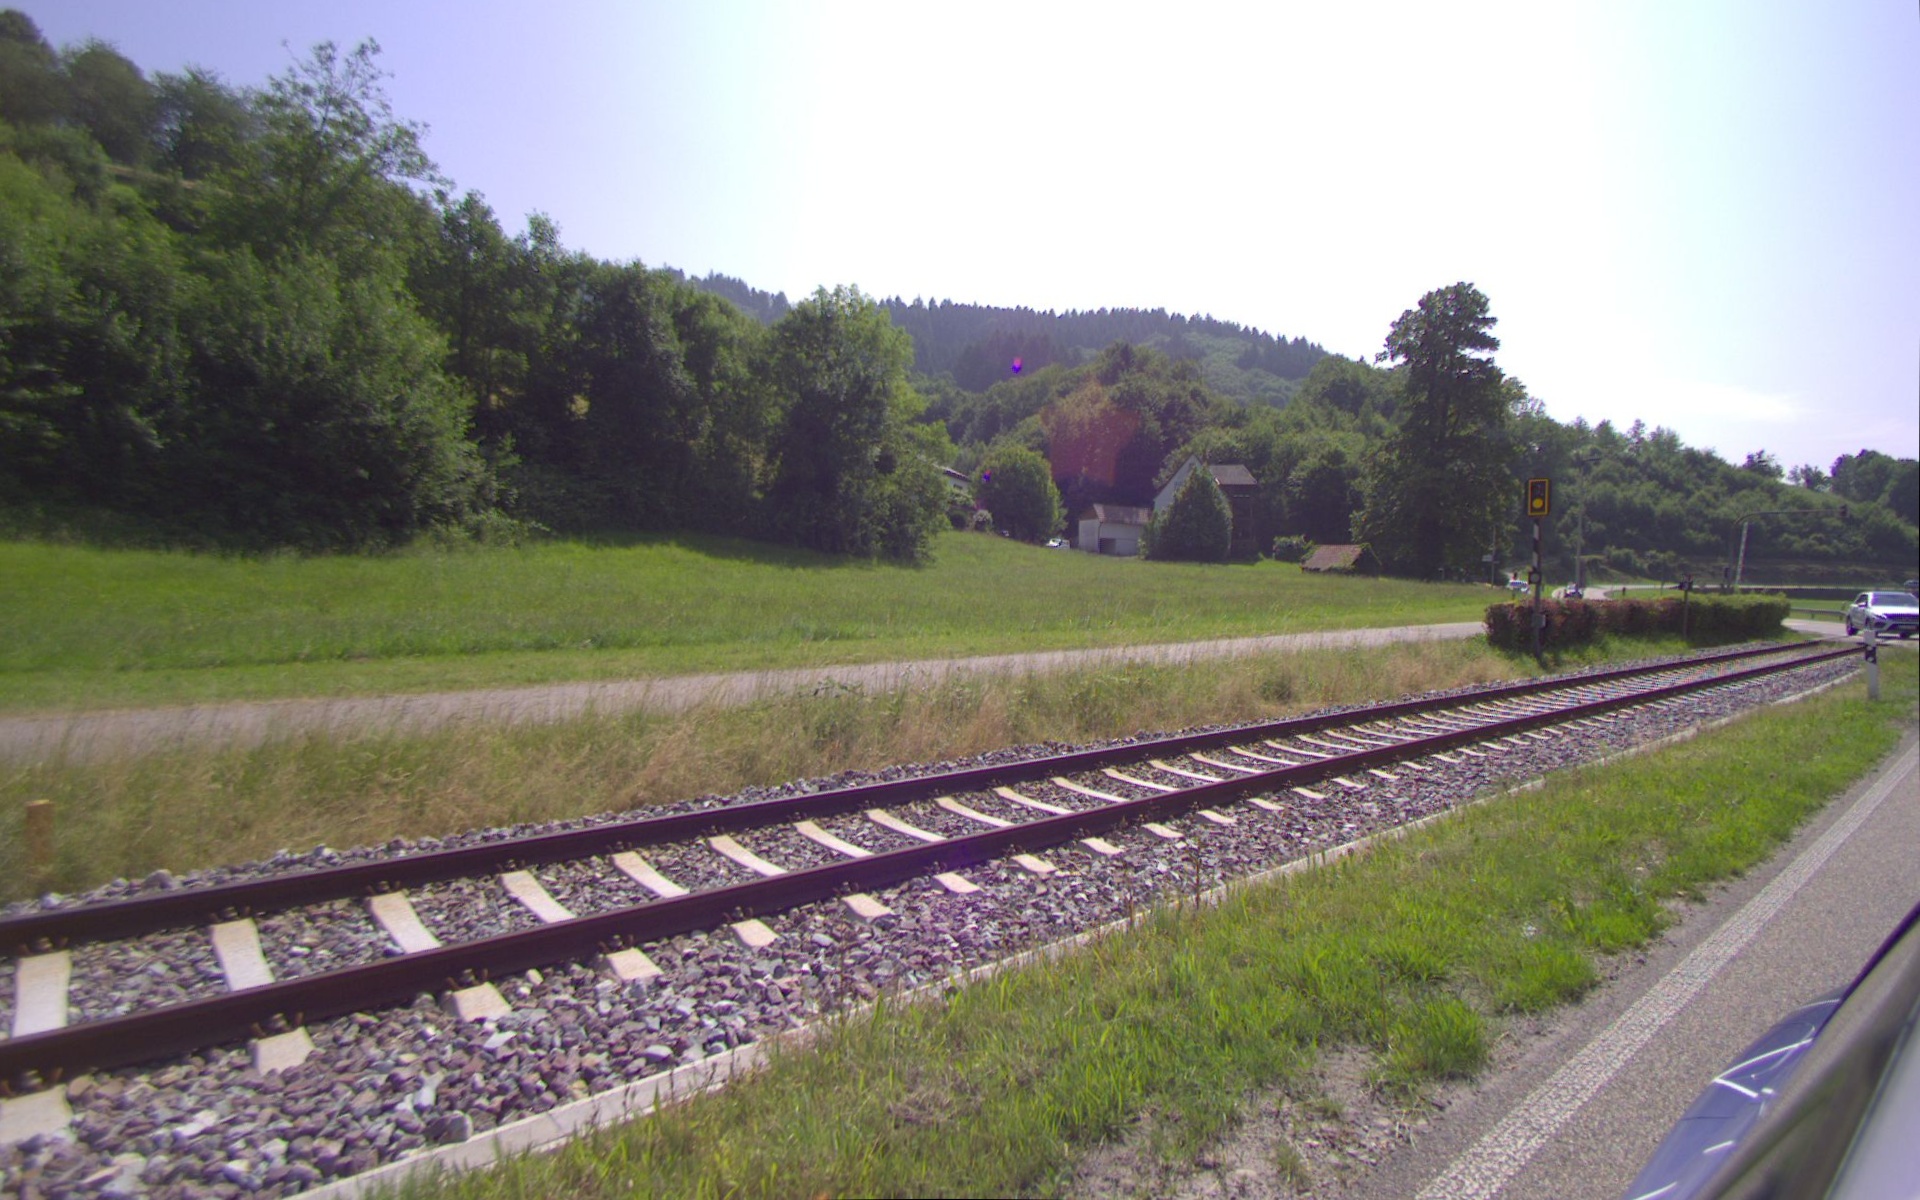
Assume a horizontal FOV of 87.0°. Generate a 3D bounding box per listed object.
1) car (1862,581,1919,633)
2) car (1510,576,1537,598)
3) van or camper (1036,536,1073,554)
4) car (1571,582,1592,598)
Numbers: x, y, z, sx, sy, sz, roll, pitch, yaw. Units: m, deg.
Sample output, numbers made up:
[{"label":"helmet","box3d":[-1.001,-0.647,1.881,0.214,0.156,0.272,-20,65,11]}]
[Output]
[{"label":"car","box3d":[36.587,0.242,39.052,2.107,1.836,4.398,4,3,36]},{"label":"car","box3d":[56.759,-1.326,101.997,1.989,1.869,4.823,9,5,27]},{"label":"van or camper","box3d":[11.863,-6.870,126.381,2.792,1.973,5.386,4,3,27]},{"label":"car","box3d":[73.304,-1.168,119.317,1.986,1.806,3.953,3,3,33]}]
